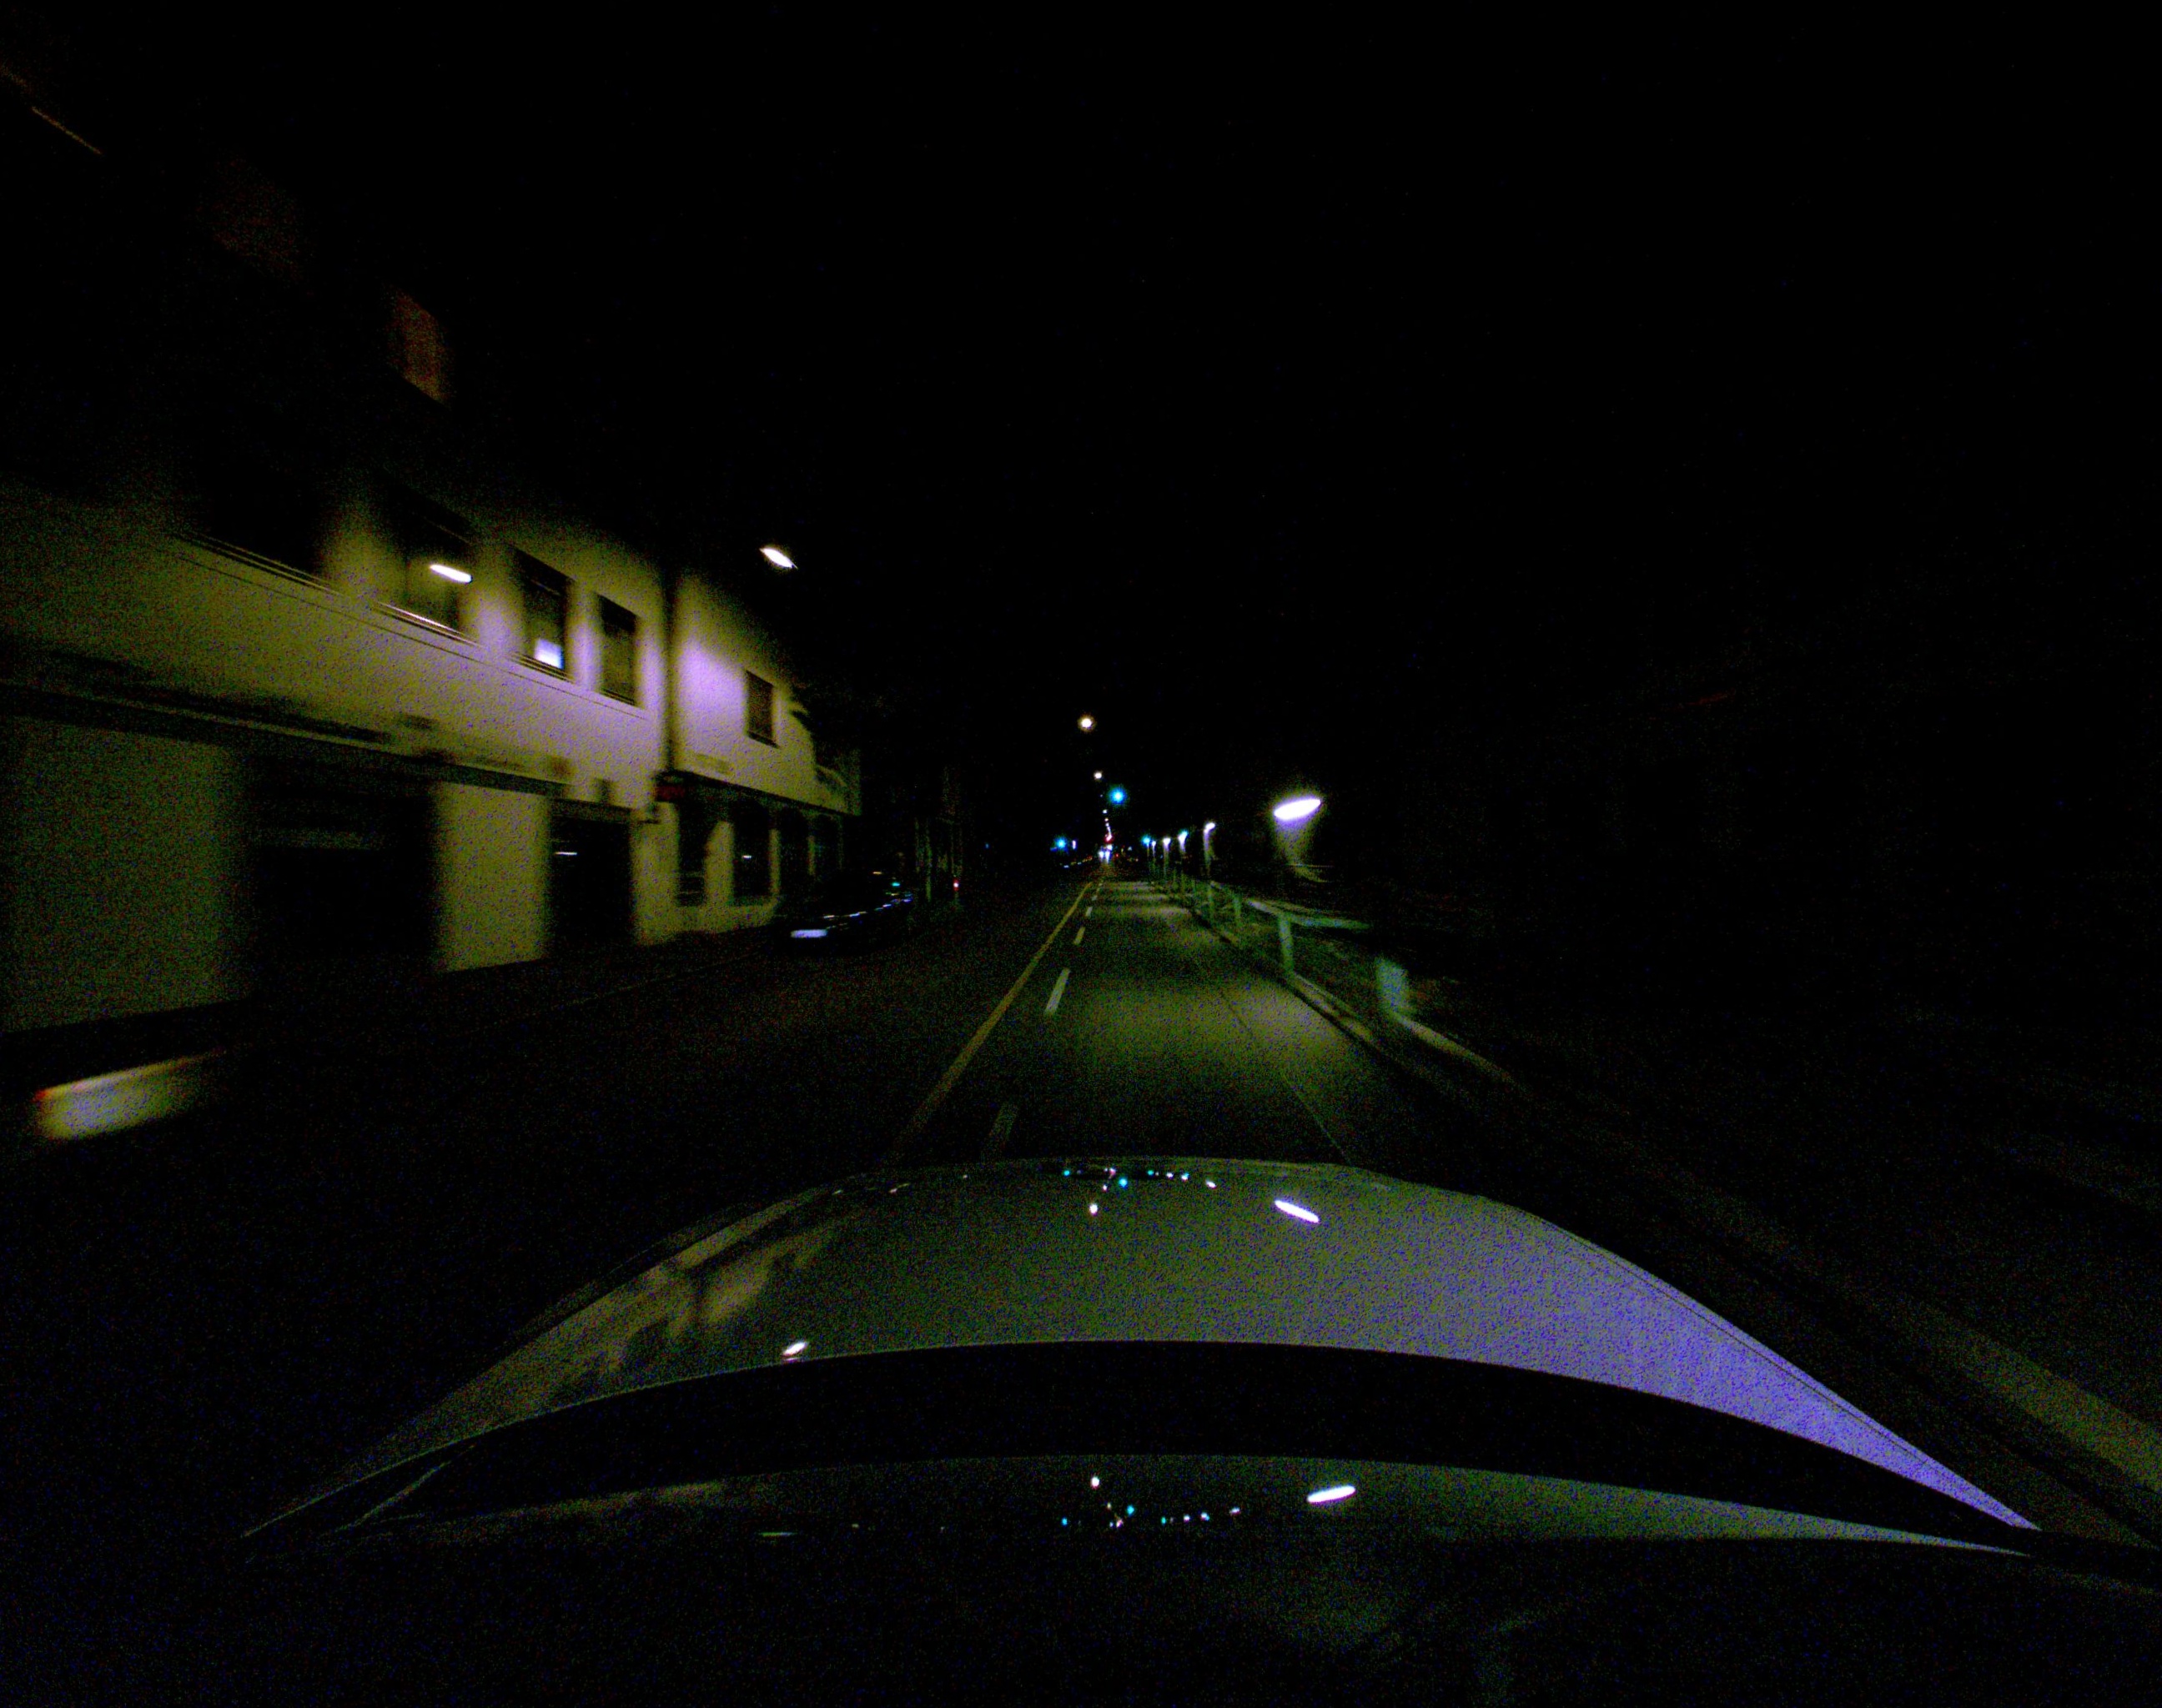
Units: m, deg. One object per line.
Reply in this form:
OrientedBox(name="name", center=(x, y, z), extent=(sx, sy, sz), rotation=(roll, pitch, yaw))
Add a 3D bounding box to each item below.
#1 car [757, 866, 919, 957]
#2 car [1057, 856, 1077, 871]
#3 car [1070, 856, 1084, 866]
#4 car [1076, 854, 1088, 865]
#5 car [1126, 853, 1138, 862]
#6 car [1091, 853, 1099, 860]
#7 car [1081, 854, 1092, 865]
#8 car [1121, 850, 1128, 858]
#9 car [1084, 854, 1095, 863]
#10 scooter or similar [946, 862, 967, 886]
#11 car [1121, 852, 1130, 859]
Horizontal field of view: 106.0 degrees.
OrientedBox(name="car", center=(-4.467, 0.989, 15.664), extent=(1.664, 1.443, 4.207), rotation=(-2, 0, 2))
OrientedBox(name="car", center=(-1.503, 0.981, 87.653), extent=(1.866, 1.544, 4.207), rotation=(-2, 0, 2))
OrientedBox(name="car", center=(-0.587, 1.079, 124.845), extent=(1.866, 1.544, 4.207), rotation=(-2, 0, 2))
OrientedBox(name="car", center=(0.174, 0.863, 131.257), extent=(1.866, 1.814, 4.207), rotation=(-2, 0, 2))
OrientedBox(name="car", center=(8.648, 0.580, 137.901), extent=(1.866, 1.544, 4.207), rotation=(-2, 0, 2))
OrientedBox(name="car", center=(3.679, 0.599, 215.569), extent=(2.069, 1.815, 4.208), rotation=(-2, 0, 3))
OrientedBox(name="car", center=(0.980, 0.988, 149.397), extent=(1.866, 1.815, 4.207), rotation=(-2, 0, 2))
OrientedBox(name="car", center=(12.062, 0.025, 225.404), extent=(1.866, 1.907, 4.207), rotation=(-2, 0, 2))
OrientedBox(name="car", center=(1.736, 1.004, 167.348), extent=(1.865, 1.815, 4.208), rotation=(-2, 0, 3))
OrientedBox(name="scooter or similar", center=(-6.349, 1.056, 41.654), extent=(0.526, 1.165, 2.508), rotation=(-3, -2, 2))
OrientedBox(name="car", center=(9.557, 0.314, 176.865), extent=(1.866, 1.544, 4.207), rotation=(-2, 0, 2))
